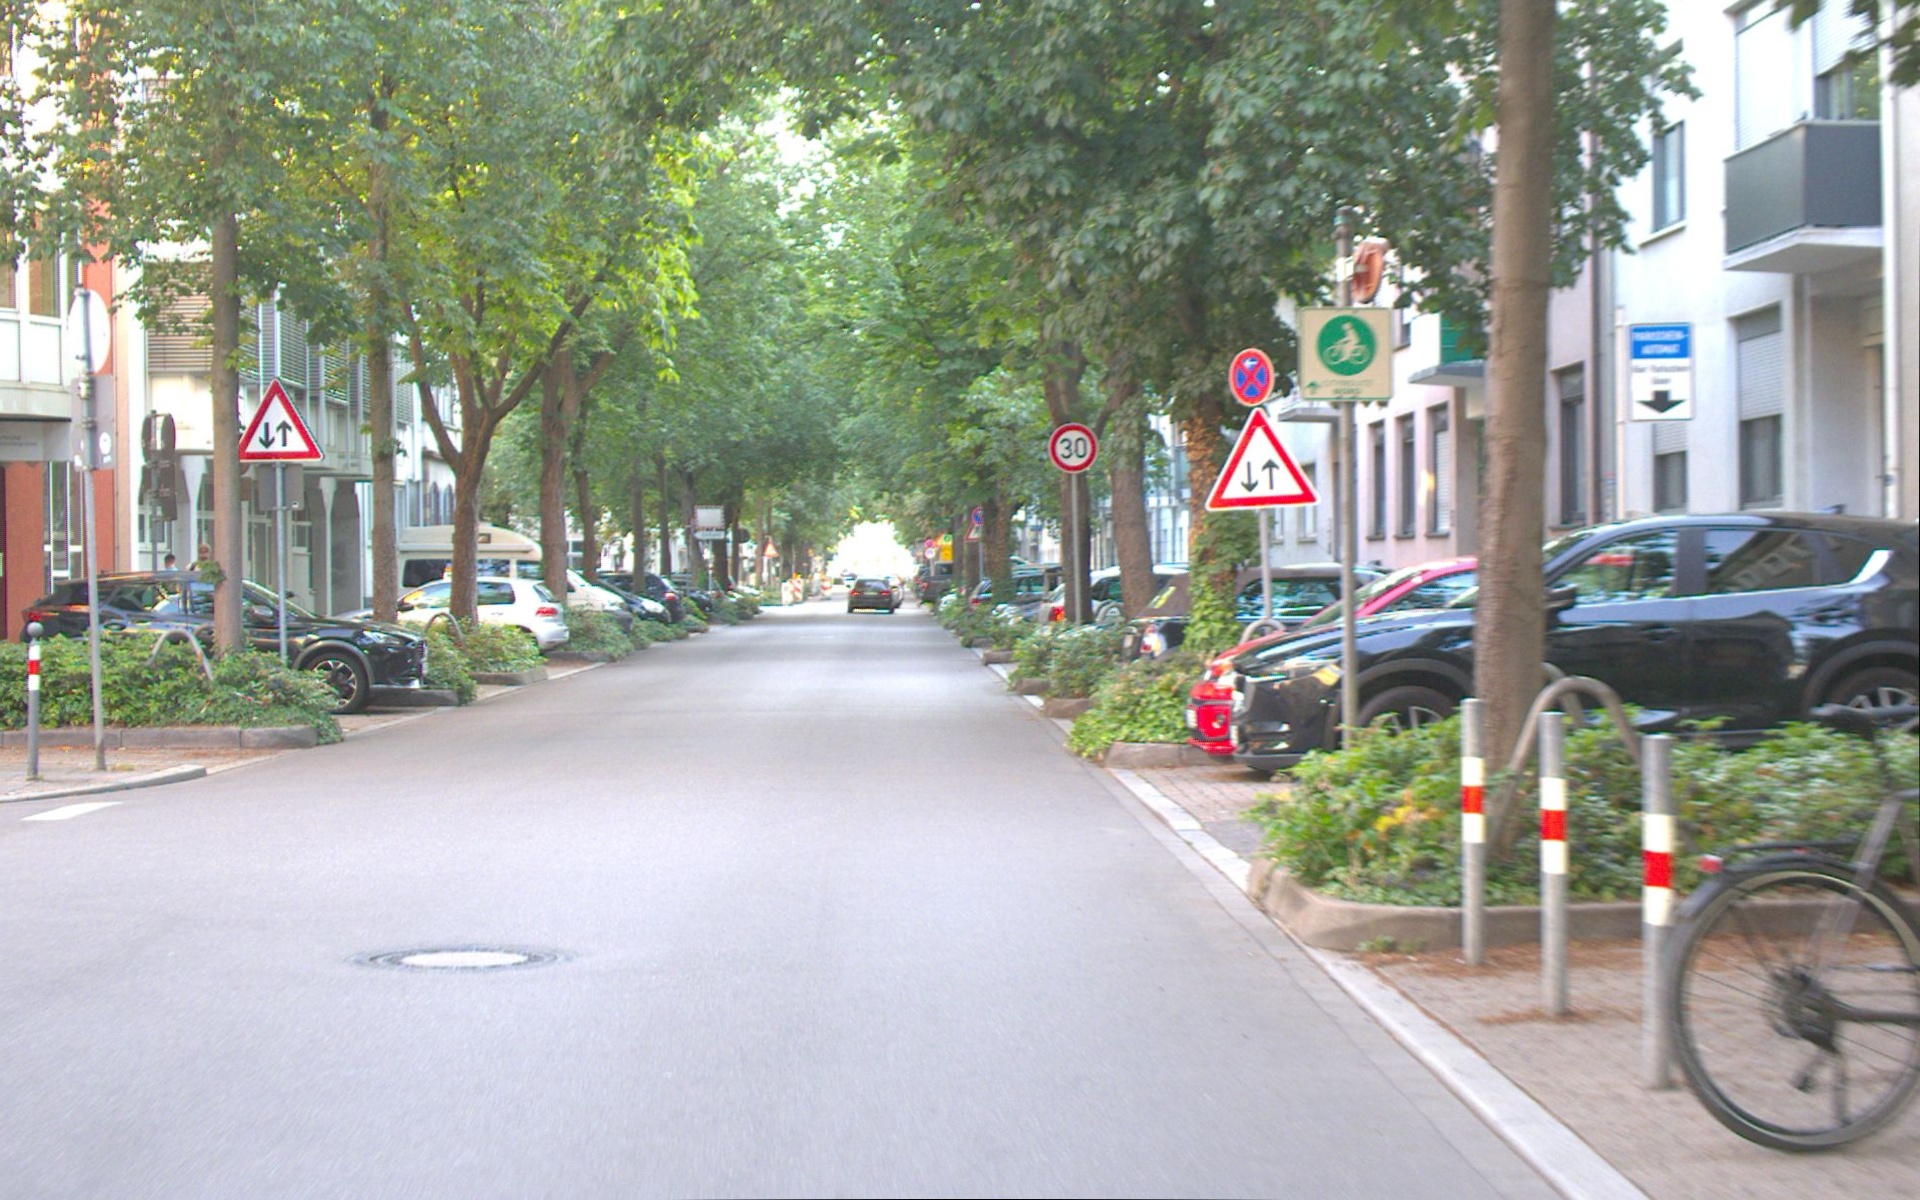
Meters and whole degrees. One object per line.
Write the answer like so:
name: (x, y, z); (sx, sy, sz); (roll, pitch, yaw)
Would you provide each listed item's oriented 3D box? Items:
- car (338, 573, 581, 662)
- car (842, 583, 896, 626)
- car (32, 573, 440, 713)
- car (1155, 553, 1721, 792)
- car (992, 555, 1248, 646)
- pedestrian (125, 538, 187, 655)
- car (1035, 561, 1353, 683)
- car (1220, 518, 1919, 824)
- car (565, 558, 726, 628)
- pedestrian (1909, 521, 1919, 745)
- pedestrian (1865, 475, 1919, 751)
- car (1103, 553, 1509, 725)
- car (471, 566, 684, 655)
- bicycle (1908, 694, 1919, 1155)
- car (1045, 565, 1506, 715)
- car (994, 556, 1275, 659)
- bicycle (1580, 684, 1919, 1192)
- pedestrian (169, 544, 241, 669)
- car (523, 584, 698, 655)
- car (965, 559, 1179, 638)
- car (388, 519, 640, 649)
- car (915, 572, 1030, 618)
car: (-8.529, 0.289, 58.769); (3.870, 1.481, 1.757); (0, 0, 1)
car: (-3.488, 0.152, 132.173); (1.956, 1.560, 4.282); (-2, 0, -1)
car: (-7.918, 0.452, 37.877); (4.127, 1.481, 1.929); (0, 0, -2)
car: (3.189, 0.457, 23.424); (3.483, 1.447, 1.900); (-2, 1, -3)
car: (3.004, 0.005, 65.267); (4.682, 1.516, 1.963); (-2, 0, -1)
pedestrian: (-11.863, -0.054, 50.733); (0.703, 1.722, 0.905); (0, 0, -1)
car: (3.015, 0.271, 44.837); (3.876, 1.435, 1.848); (-2, 1, -4)
car: (3.823, 0.380, 20.226); (4.426, 1.650, 1.899); (-1, 1, 1)
car: (-9.712, -0.219, 106.446); (4.762, 1.977, 1.963); (-2, 0, -1)
pedestrian: (6.896, 0.224, 23.309); (0.655, 1.531, 0.831); (-1, 0, 0)
pedestrian: (6.260, 0.077, 21.822); (0.689, 1.731, 0.674); (-2, 1, -32)
car: (3.181, 0.335, 32.118); (3.483, 1.447, 1.900); (-2, 1, -3)
car: (-8.823, 0.235, 79.582); (4.682, 1.848, 1.963); (-2, 0, -1)
bicycle: (3.021, 0.771, 7.277); (1.829, 1.174, 0.601); (-2, 1, -2)
car: (3.336, 0.413, 37.073); (4.711, 1.416, 2.036); (-2, 1, -1)
car: (2.954, 0.113, 58.815); (4.717, 1.704, 1.950); (0, 1, 1)
bicycle: (2.574, 0.790, 8.600); (1.837, 1.132, 0.745); (-2, 1, -11)
pedestrian: (-10.675, 0.085, 48.627); (0.704, 1.751, 0.739); (0, 0, 23)
car: (-8.852, 0.482, 87.307); (4.203, 1.630, 1.963); (-2, 0, -1)
car: (2.417, -0.029, 74.172); (4.508, 1.516, 1.995); (-2, 0, 2)
car: (-8.665, -0.310, 67.133); (4.682, 2.469, 2.000); (0, 0, -1)
car: (0.469, -0.184, 130.240); (4.268, 1.560, 1.963); (-2, 0, -1)
